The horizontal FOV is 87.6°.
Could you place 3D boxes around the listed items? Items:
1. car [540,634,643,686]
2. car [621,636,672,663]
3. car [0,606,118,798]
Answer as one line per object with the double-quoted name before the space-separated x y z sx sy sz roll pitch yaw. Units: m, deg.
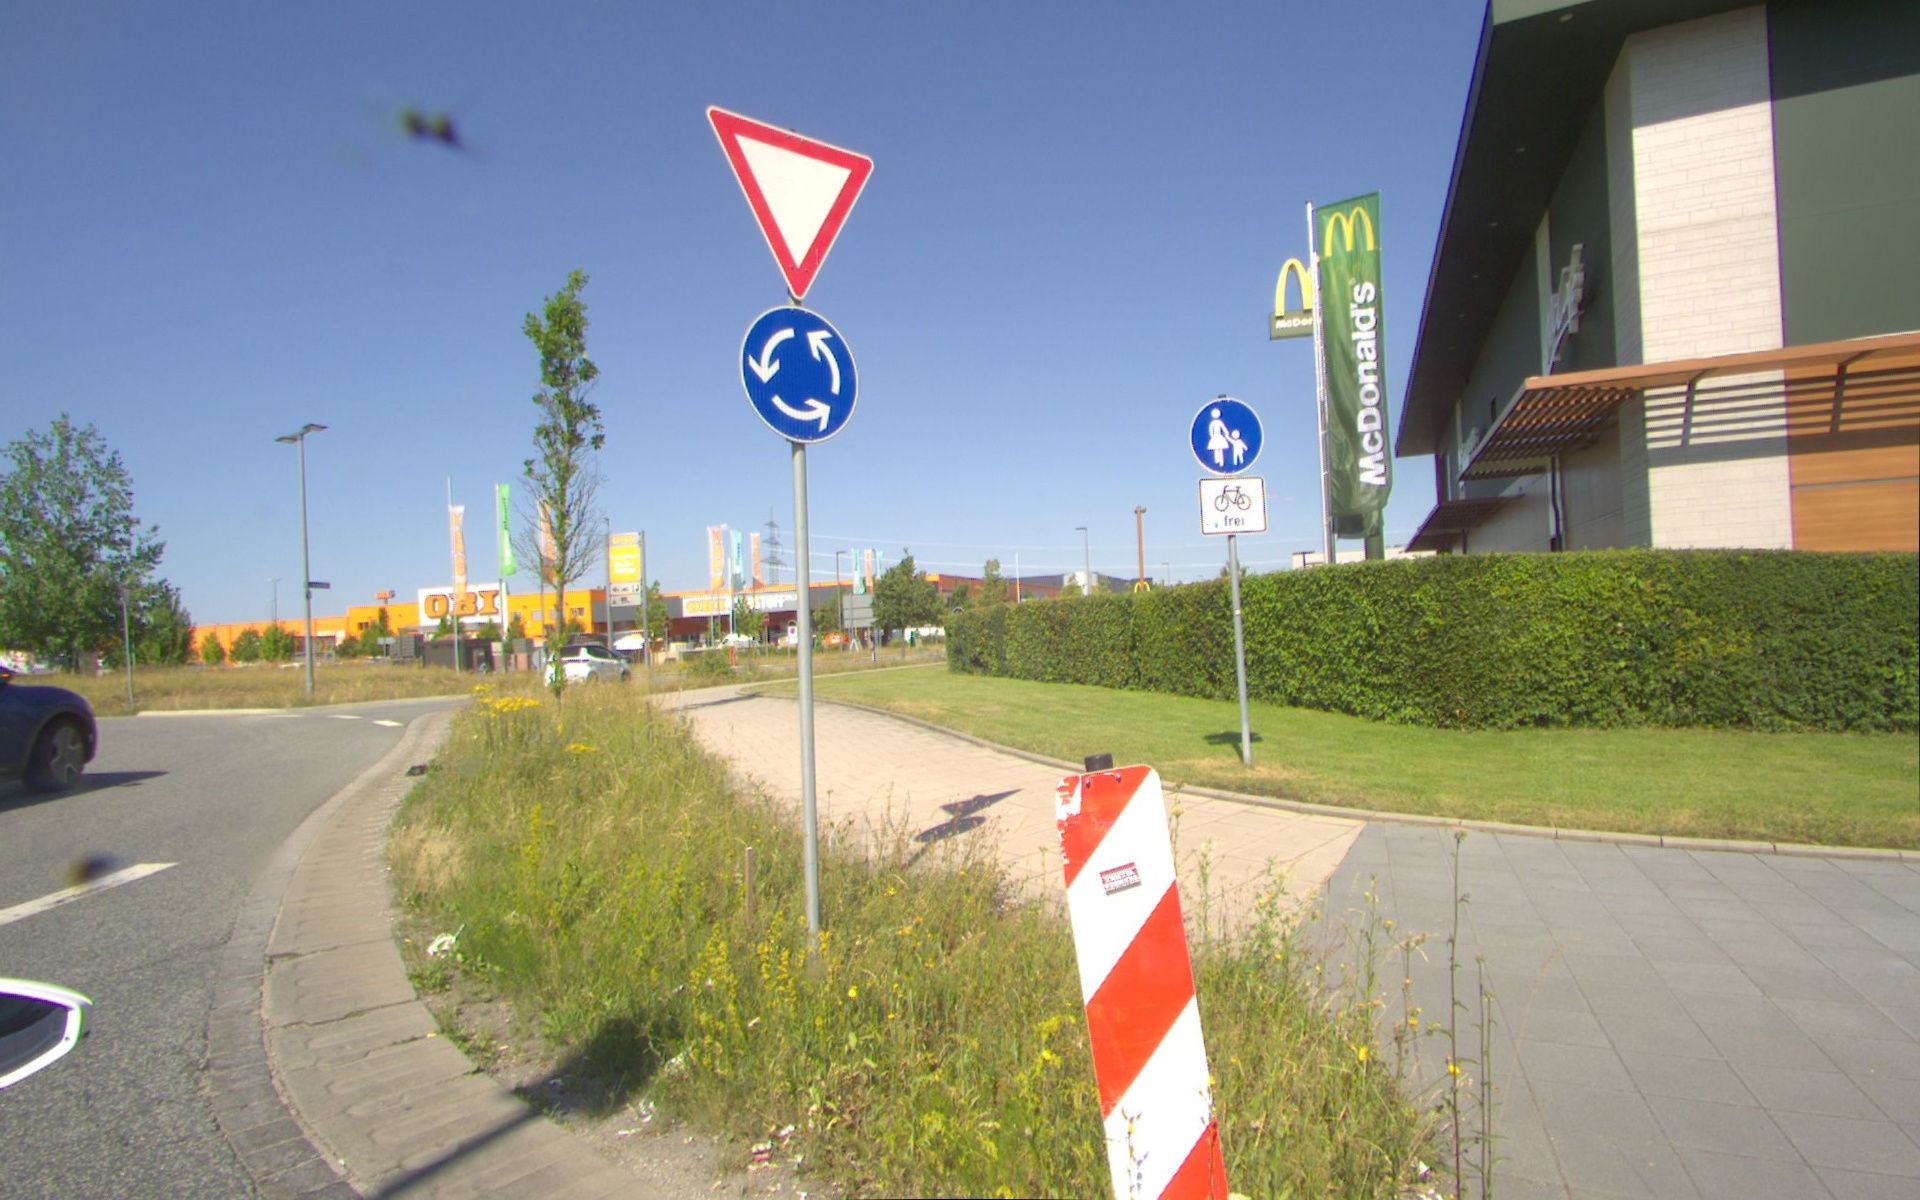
"car" -11.593 1.871 31.695 1.486 1.459 3.349 -2 -1 12
"car" -22.619 3.586 72.425 1.670 1.863 3.771 -3 -3 17
"car" -9.120 0.881 7.960 1.822 1.656 4.079 -1 -1 -8
